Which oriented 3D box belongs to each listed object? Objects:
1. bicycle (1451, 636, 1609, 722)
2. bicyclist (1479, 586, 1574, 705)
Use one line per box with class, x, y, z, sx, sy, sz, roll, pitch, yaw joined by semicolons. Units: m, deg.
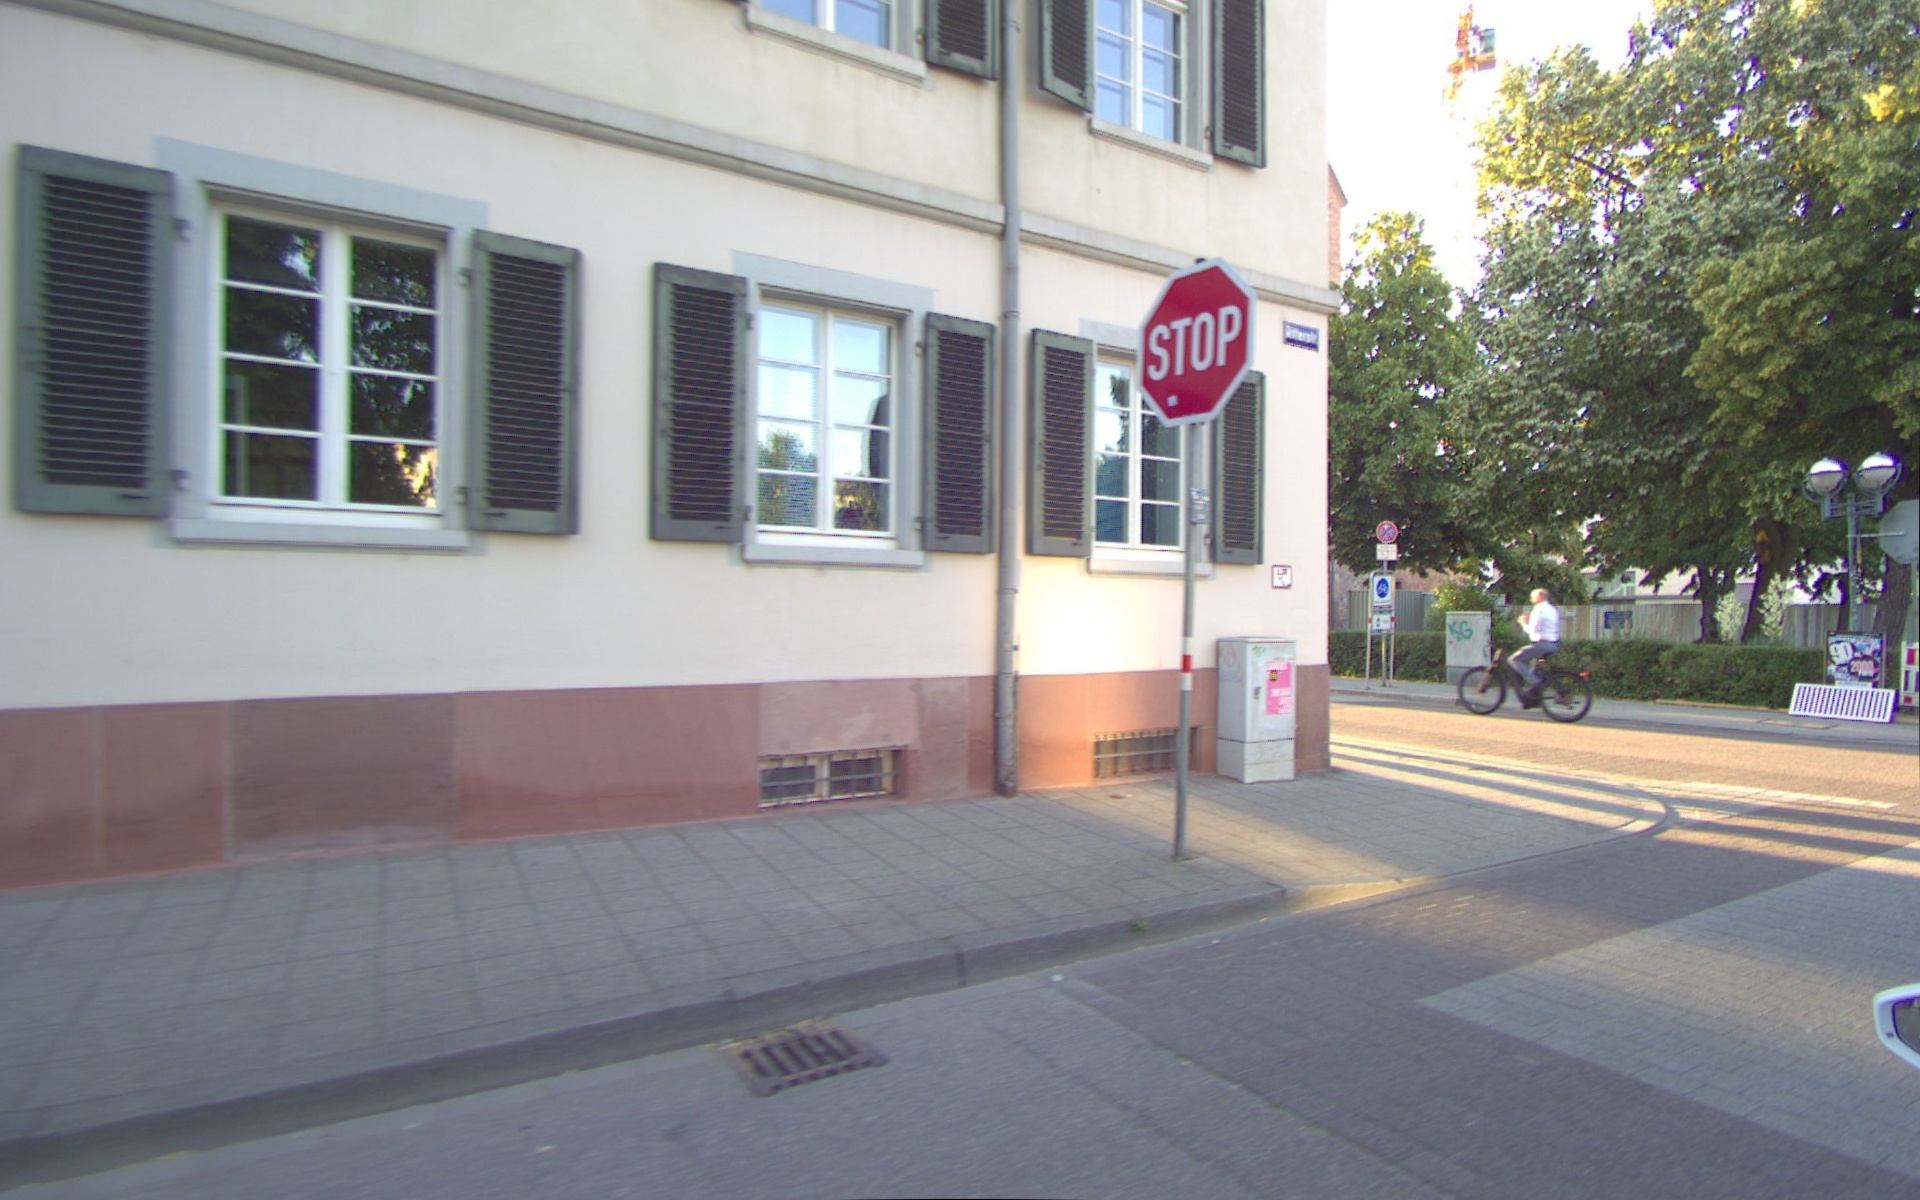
bicycle;8.191;1.103;14.511;0.591;1.136;1.912;1;-1;-39
bicyclist;8.194;0.643;14.541;0.591;1.655;1.052;1;-1;-39
